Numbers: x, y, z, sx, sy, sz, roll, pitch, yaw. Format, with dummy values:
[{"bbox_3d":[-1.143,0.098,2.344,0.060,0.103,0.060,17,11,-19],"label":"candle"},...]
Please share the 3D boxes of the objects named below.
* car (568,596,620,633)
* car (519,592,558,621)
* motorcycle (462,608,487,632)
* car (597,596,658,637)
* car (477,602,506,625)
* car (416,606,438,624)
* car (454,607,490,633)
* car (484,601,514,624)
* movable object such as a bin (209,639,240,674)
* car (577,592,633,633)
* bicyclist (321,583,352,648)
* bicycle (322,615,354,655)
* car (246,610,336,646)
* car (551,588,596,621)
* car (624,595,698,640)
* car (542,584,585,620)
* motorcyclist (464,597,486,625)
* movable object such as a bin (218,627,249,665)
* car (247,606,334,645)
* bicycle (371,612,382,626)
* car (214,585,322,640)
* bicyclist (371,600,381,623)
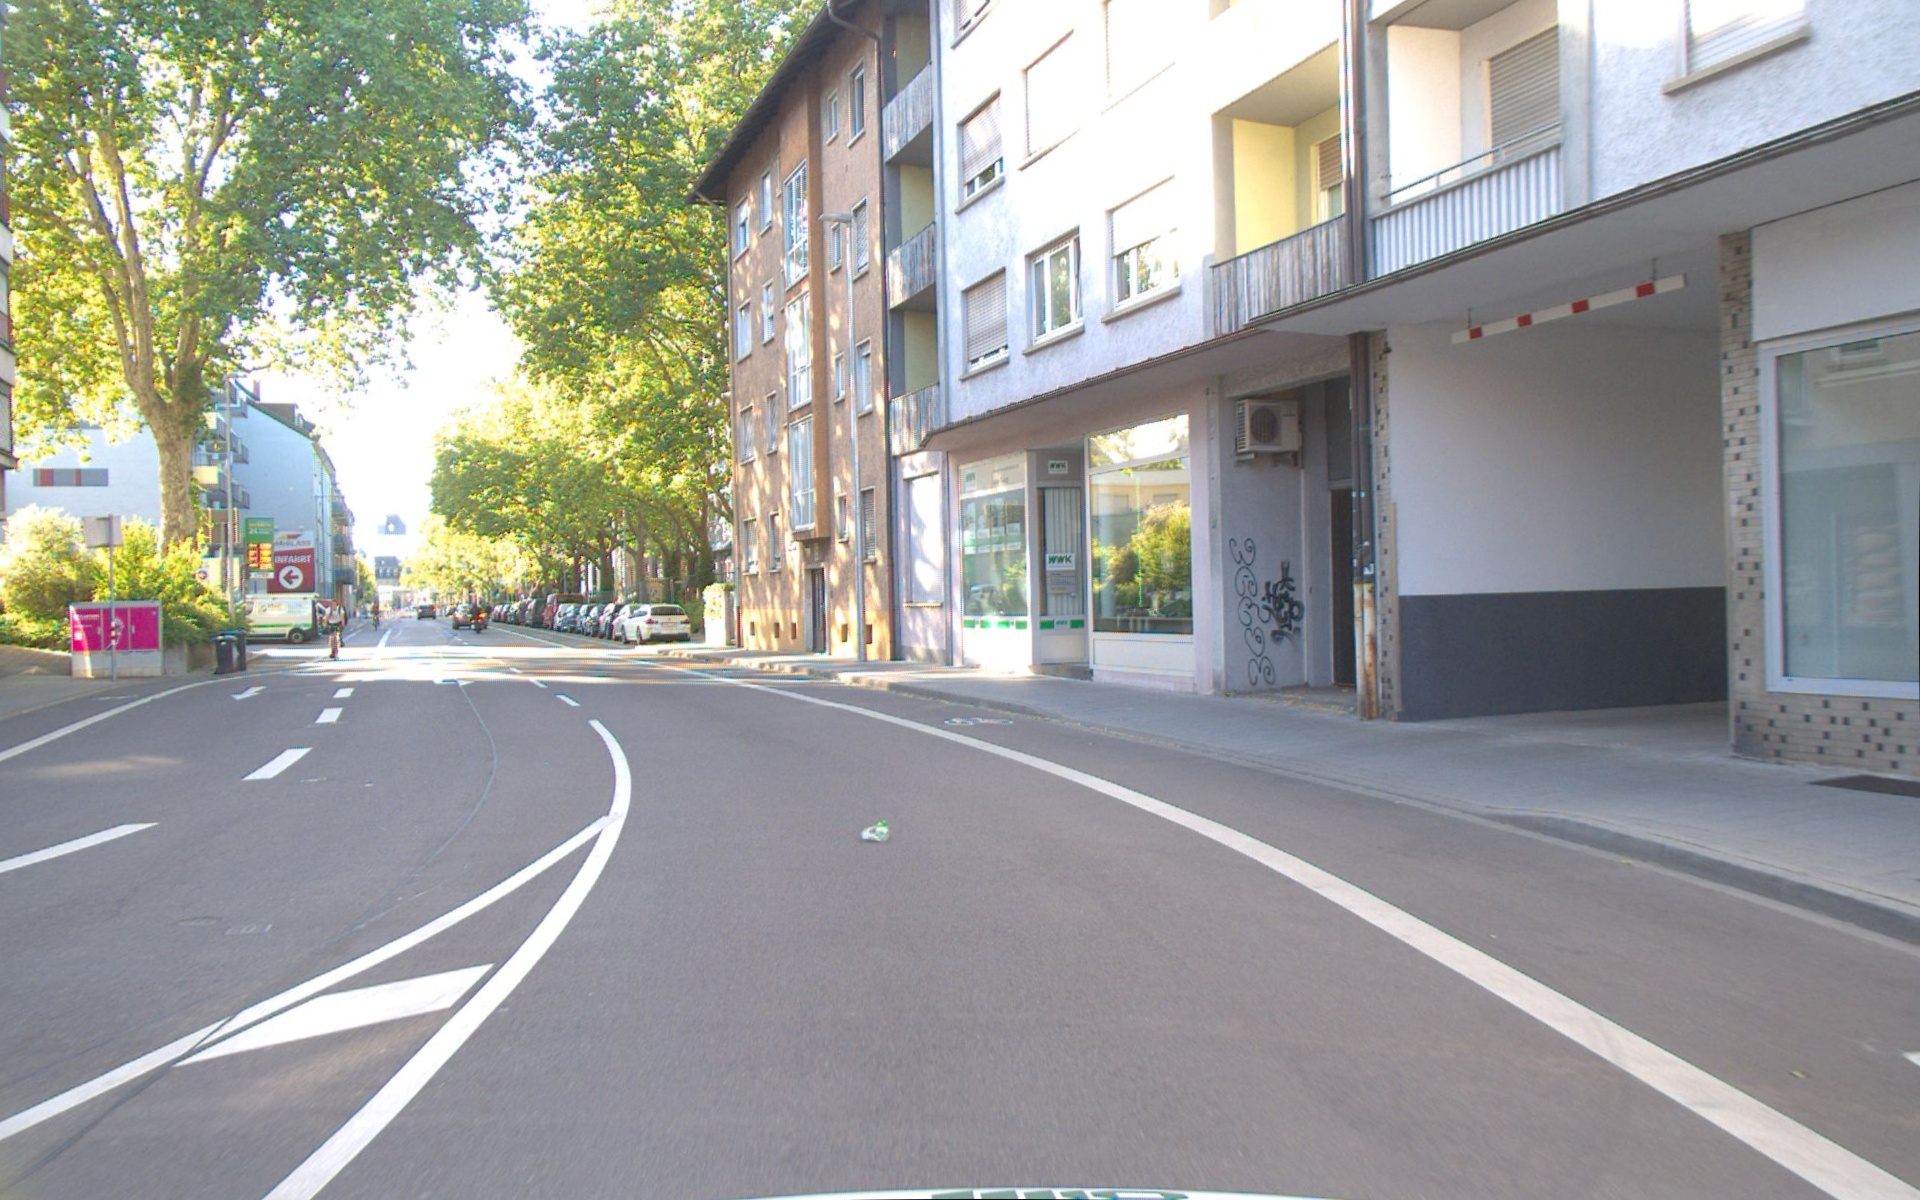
[{"bbox_3d":[-18.202,0.726,82.140,2.003,1.749,4.070,-1,0,-19],"label":"car"},{"bbox_3d":[-26.835,0.424,105.209,2.003,1.772,4.070,-1,0,-19],"label":"car"},{"bbox_3d":[-24.642,1.025,83.885,0.959,1.151,2.787,0,0,-21],"label":"motorcycle"},{"bbox_3d":[-14.240,0.693,70.670,2.003,1.645,4.070,-1,0,-19],"label":"car"},{"bbox_3d":[-38.914,1.113,137.375,2.003,1.772,4.070,-1,0,-19],"label":"car"},{"bbox_3d":[-55.823,1.578,173.189,2.003,1.772,4.070,-2,0,-19],"label":"car"},{"bbox_3d":[-28.719,1.156,97.470,1.892,1.413,3.984,-1,0,-15],"label":"car"},{"bbox_3d":[-36.460,0.969,130.873,2.003,1.772,4.070,-1,0,-19],"label":"car"},{"bbox_3d":[-18.955,1.455,42.615,0.675,0.867,0.576,1,0,-19],"label":"movable object such as a bin"},{"bbox_3d":[-16.396,0.581,76.304,2.003,1.790,4.070,-1,0,-19],"label":"car"},{"bbox_3d":[-19.178,0.472,50.889,0.805,1.981,0.851,-1,0,-24],"label":"bicyclist"},{"bbox_3d":[-19.143,1.063,50.844,0.804,1.159,2.321,-1,0,-23],"label":"bicycle"},{"bbox_3d":[-32.353,1.345,80.104,3.931,1.624,1.987,-2,0,-22],"label":"car"},{"bbox_3d":[-21.180,0.234,90.527,2.003,1.749,4.070,-1,0,-19],"label":"car"},{"bbox_3d":[-10.876,0.615,59.967,2.003,1.531,4.070,-2,0,-19],"label":"car"},{"bbox_3d":[-22.665,0.090,94.476,2.003,1.968,4.070,-1,0,-19],"label":"car"},{"bbox_3d":[-24.570,0.559,83.810,0.957,1.370,1.130,0,0,-22],"label":"motorcyclist"},{"bbox_3d":[-19.409,1.225,44.202,0.692,0.982,0.593,1,0,-19],"label":"movable object such as a bin"},{"bbox_3d":[-33.353,1.265,82.493,3.931,1.773,1.987,-2,0,-22],"label":"car"},{"bbox_3d":[-36.915,1.221,104.601,0.534,0.857,1.592,-1,0,-24],"label":"bicycle"},{"bbox_3d":[-30.172,0.534,72.232,4.243,2.264,1.987,-2,0,-22],"label":"car"},{"bbox_3d":[-36.940,0.714,104.637,0.534,1.418,0.505,-1,0,-25],"label":"bicyclist"}]
